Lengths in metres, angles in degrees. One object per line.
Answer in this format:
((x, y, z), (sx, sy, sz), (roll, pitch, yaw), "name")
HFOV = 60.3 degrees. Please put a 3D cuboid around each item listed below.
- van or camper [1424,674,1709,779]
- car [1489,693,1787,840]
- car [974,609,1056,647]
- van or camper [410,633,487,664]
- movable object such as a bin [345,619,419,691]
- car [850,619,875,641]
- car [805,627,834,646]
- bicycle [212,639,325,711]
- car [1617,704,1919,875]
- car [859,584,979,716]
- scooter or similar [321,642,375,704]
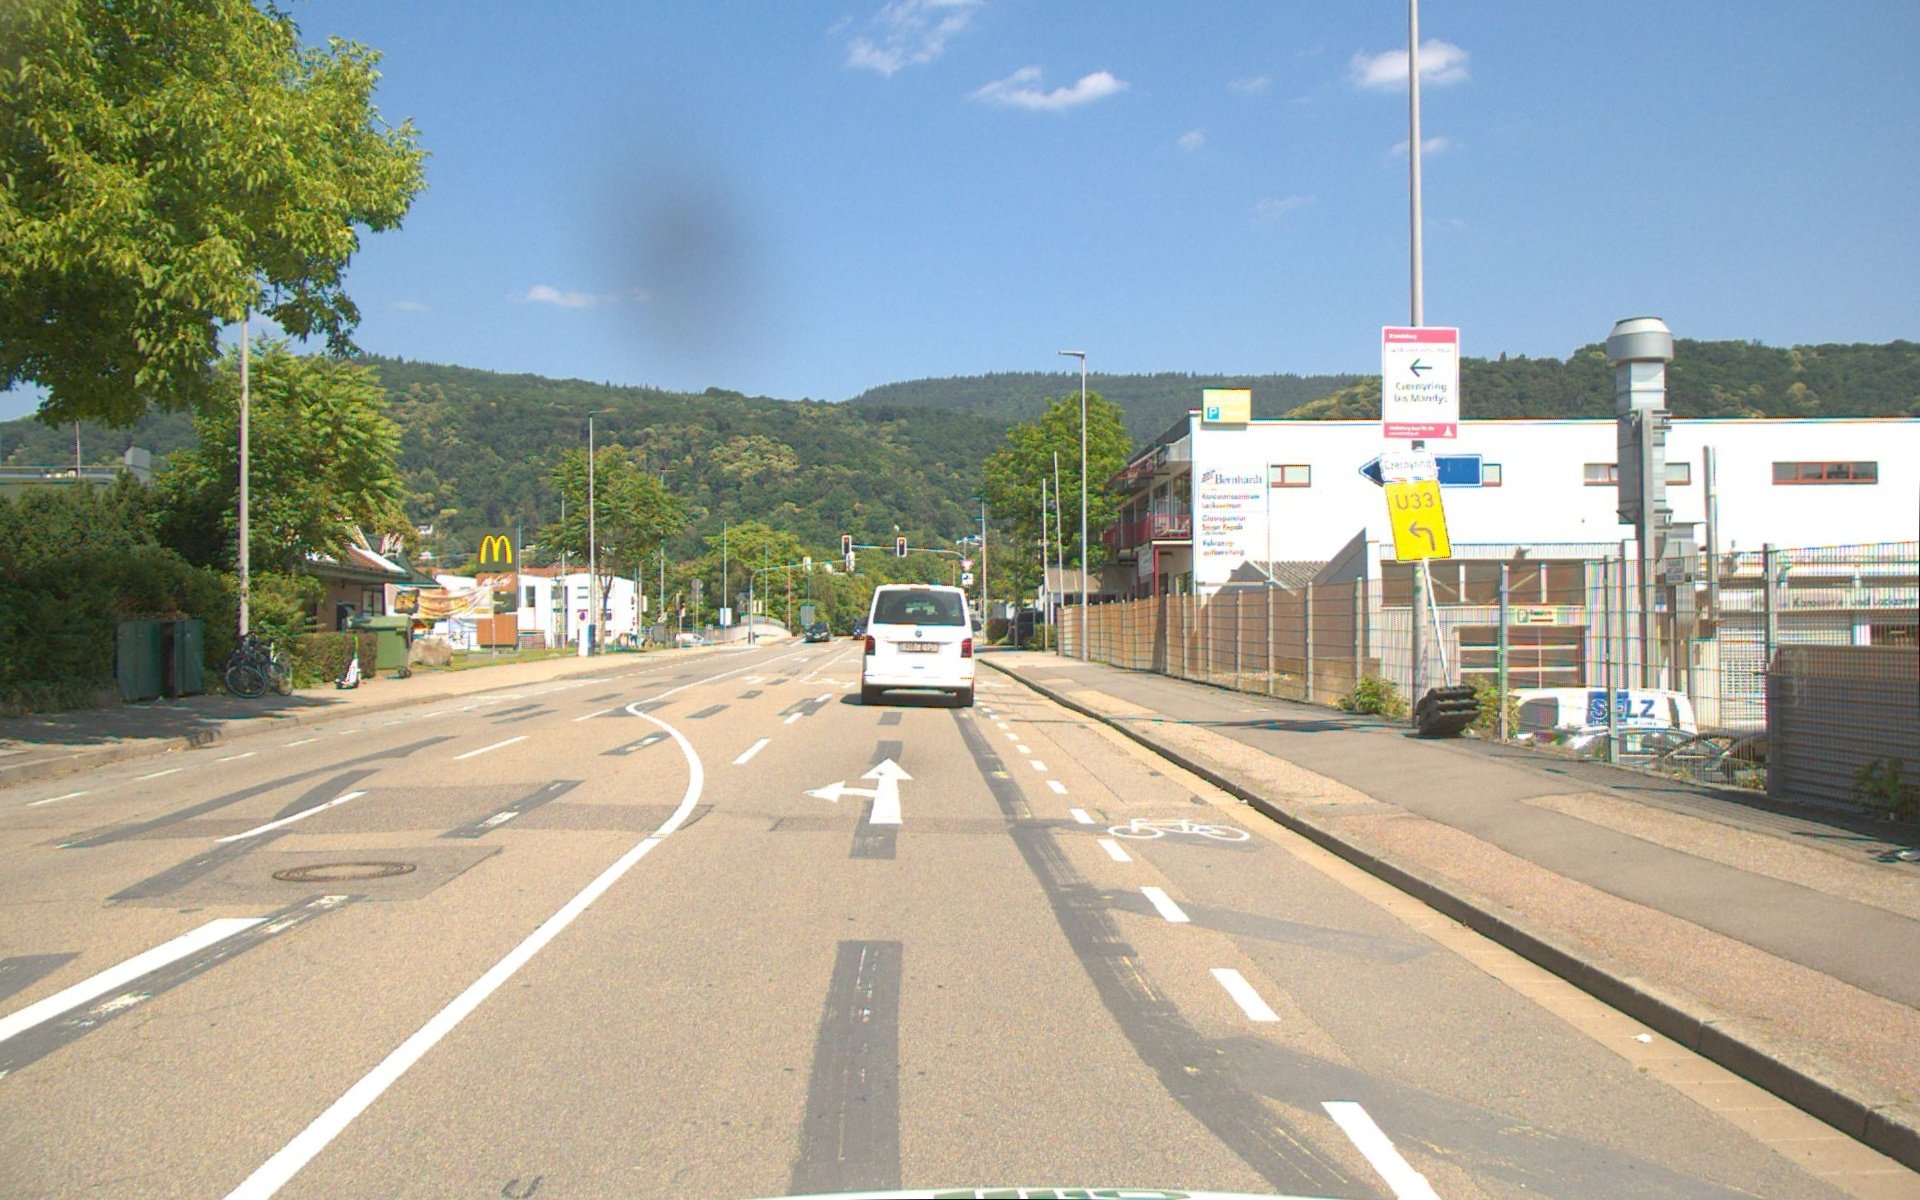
((10.495, 2.170, 28.816), (4.230, 1.680, 2.018), (0, -1, -7), "van or camper")
((10.784, 2.627, 26.500), (3.908, 2.049, 1.999), (2, -1, -4), "car")
((2.721, 1.359, 81.069), (3.903, 1.806, 2.001), (-1, -1, 4), "car")
((-28.395, 2.683, 91.781), (3.928, 1.601, 1.988), (2, -1, -20), "van or camper")
((-13.511, 1.268, 38.728), (1.422, 1.618, 1.304), (-1, 0, -11), "movable object such as a bin")
((-7.613, 2.342, 129.644), (1.812, 1.616, 3.998), (-1, 0, -2), "car")
((-10.675, 2.749, 125.824), (1.953, 1.394, 4.325), (-1, 0, -2), "car")
((-12.219, 1.307, 29.355), (1.007, 1.137, 2.763), (2, -1, -5), "bicycle")
((11.453, 2.581, 22.854), (3.908, 2.049, 1.999), (2, -1, -4), "car")
((-0.783, 0.818, 28.650), (1.896, 2.096, 4.541), (0, 0, -4), "car")
((-12.200, 1.440, 33.011), (0.635, 1.147, 1.620), (2, -1, -8), "scooter or similar")
